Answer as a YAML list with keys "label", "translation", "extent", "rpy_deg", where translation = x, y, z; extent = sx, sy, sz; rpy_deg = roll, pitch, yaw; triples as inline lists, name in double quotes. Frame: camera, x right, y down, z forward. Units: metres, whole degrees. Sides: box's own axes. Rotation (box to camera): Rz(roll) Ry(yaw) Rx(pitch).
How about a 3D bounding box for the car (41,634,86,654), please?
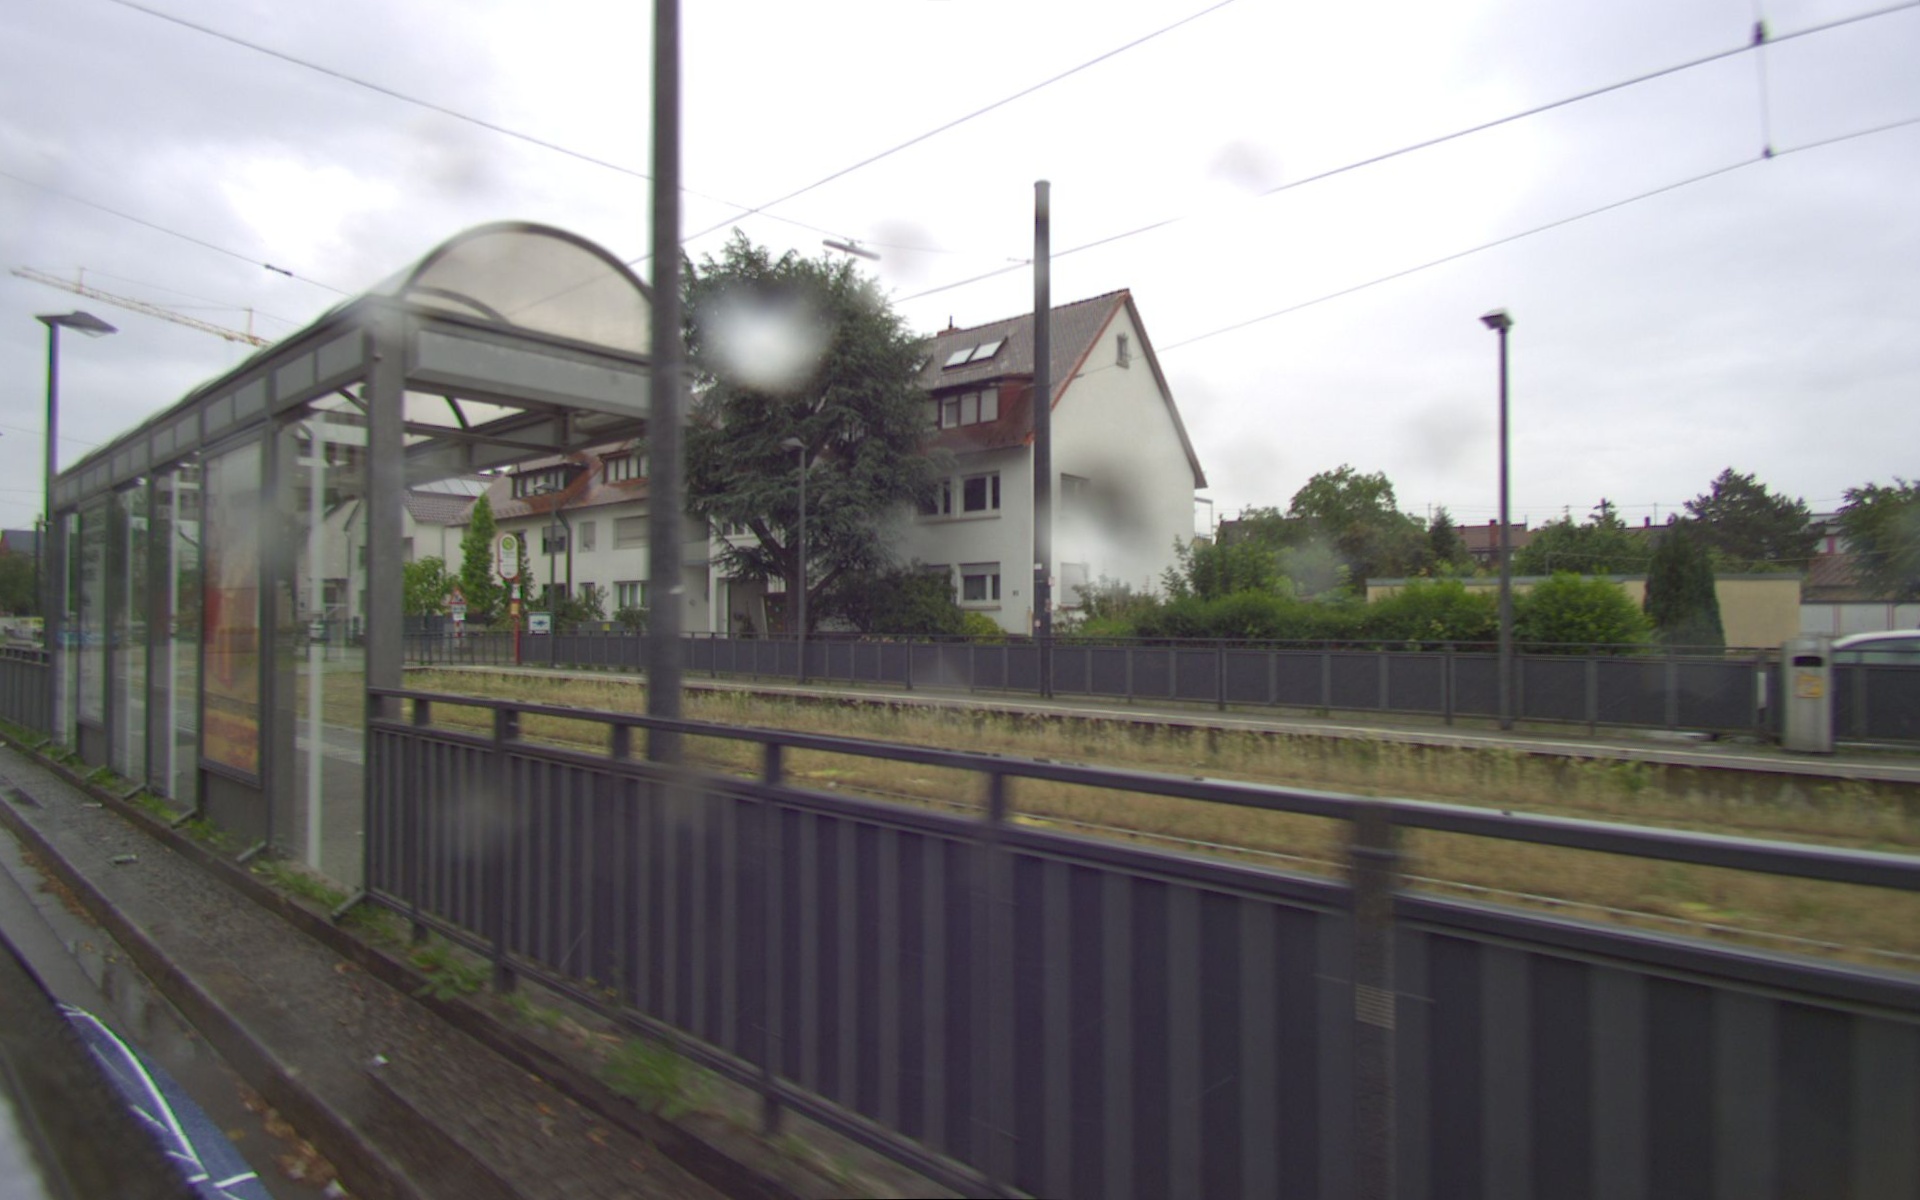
- label: "car"
  translation: [-70.005, 3.438, 79.054]
  extent: [3.838, 1.383, 1.975]
  rpy_deg: [0, 0, 38]

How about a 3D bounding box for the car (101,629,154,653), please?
- label: "car"
  translation: [-54.038, 2.665, 65.674]
  extent: [4.168, 1.437, 1.819]
  rpy_deg: [-2, -1, 38]

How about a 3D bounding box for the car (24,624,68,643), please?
- label: "car"
  translation: [-74.474, 2.707, 82.419]
  extent: [4.168, 1.420, 1.975]
  rpy_deg: [-3, -2, 38]

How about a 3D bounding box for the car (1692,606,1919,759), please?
- label: "car"
  translation: [10.187, 0.824, 10.553]
  extent: [3.999, 1.504, 1.616]
  rpy_deg: [0, 0, 42]

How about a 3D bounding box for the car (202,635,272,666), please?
- label: "car"
  translation: [-37.411, 2.588, 52.355]
  extent: [3.653, 1.424, 1.975]
  rpy_deg: [0, 0, 38]
